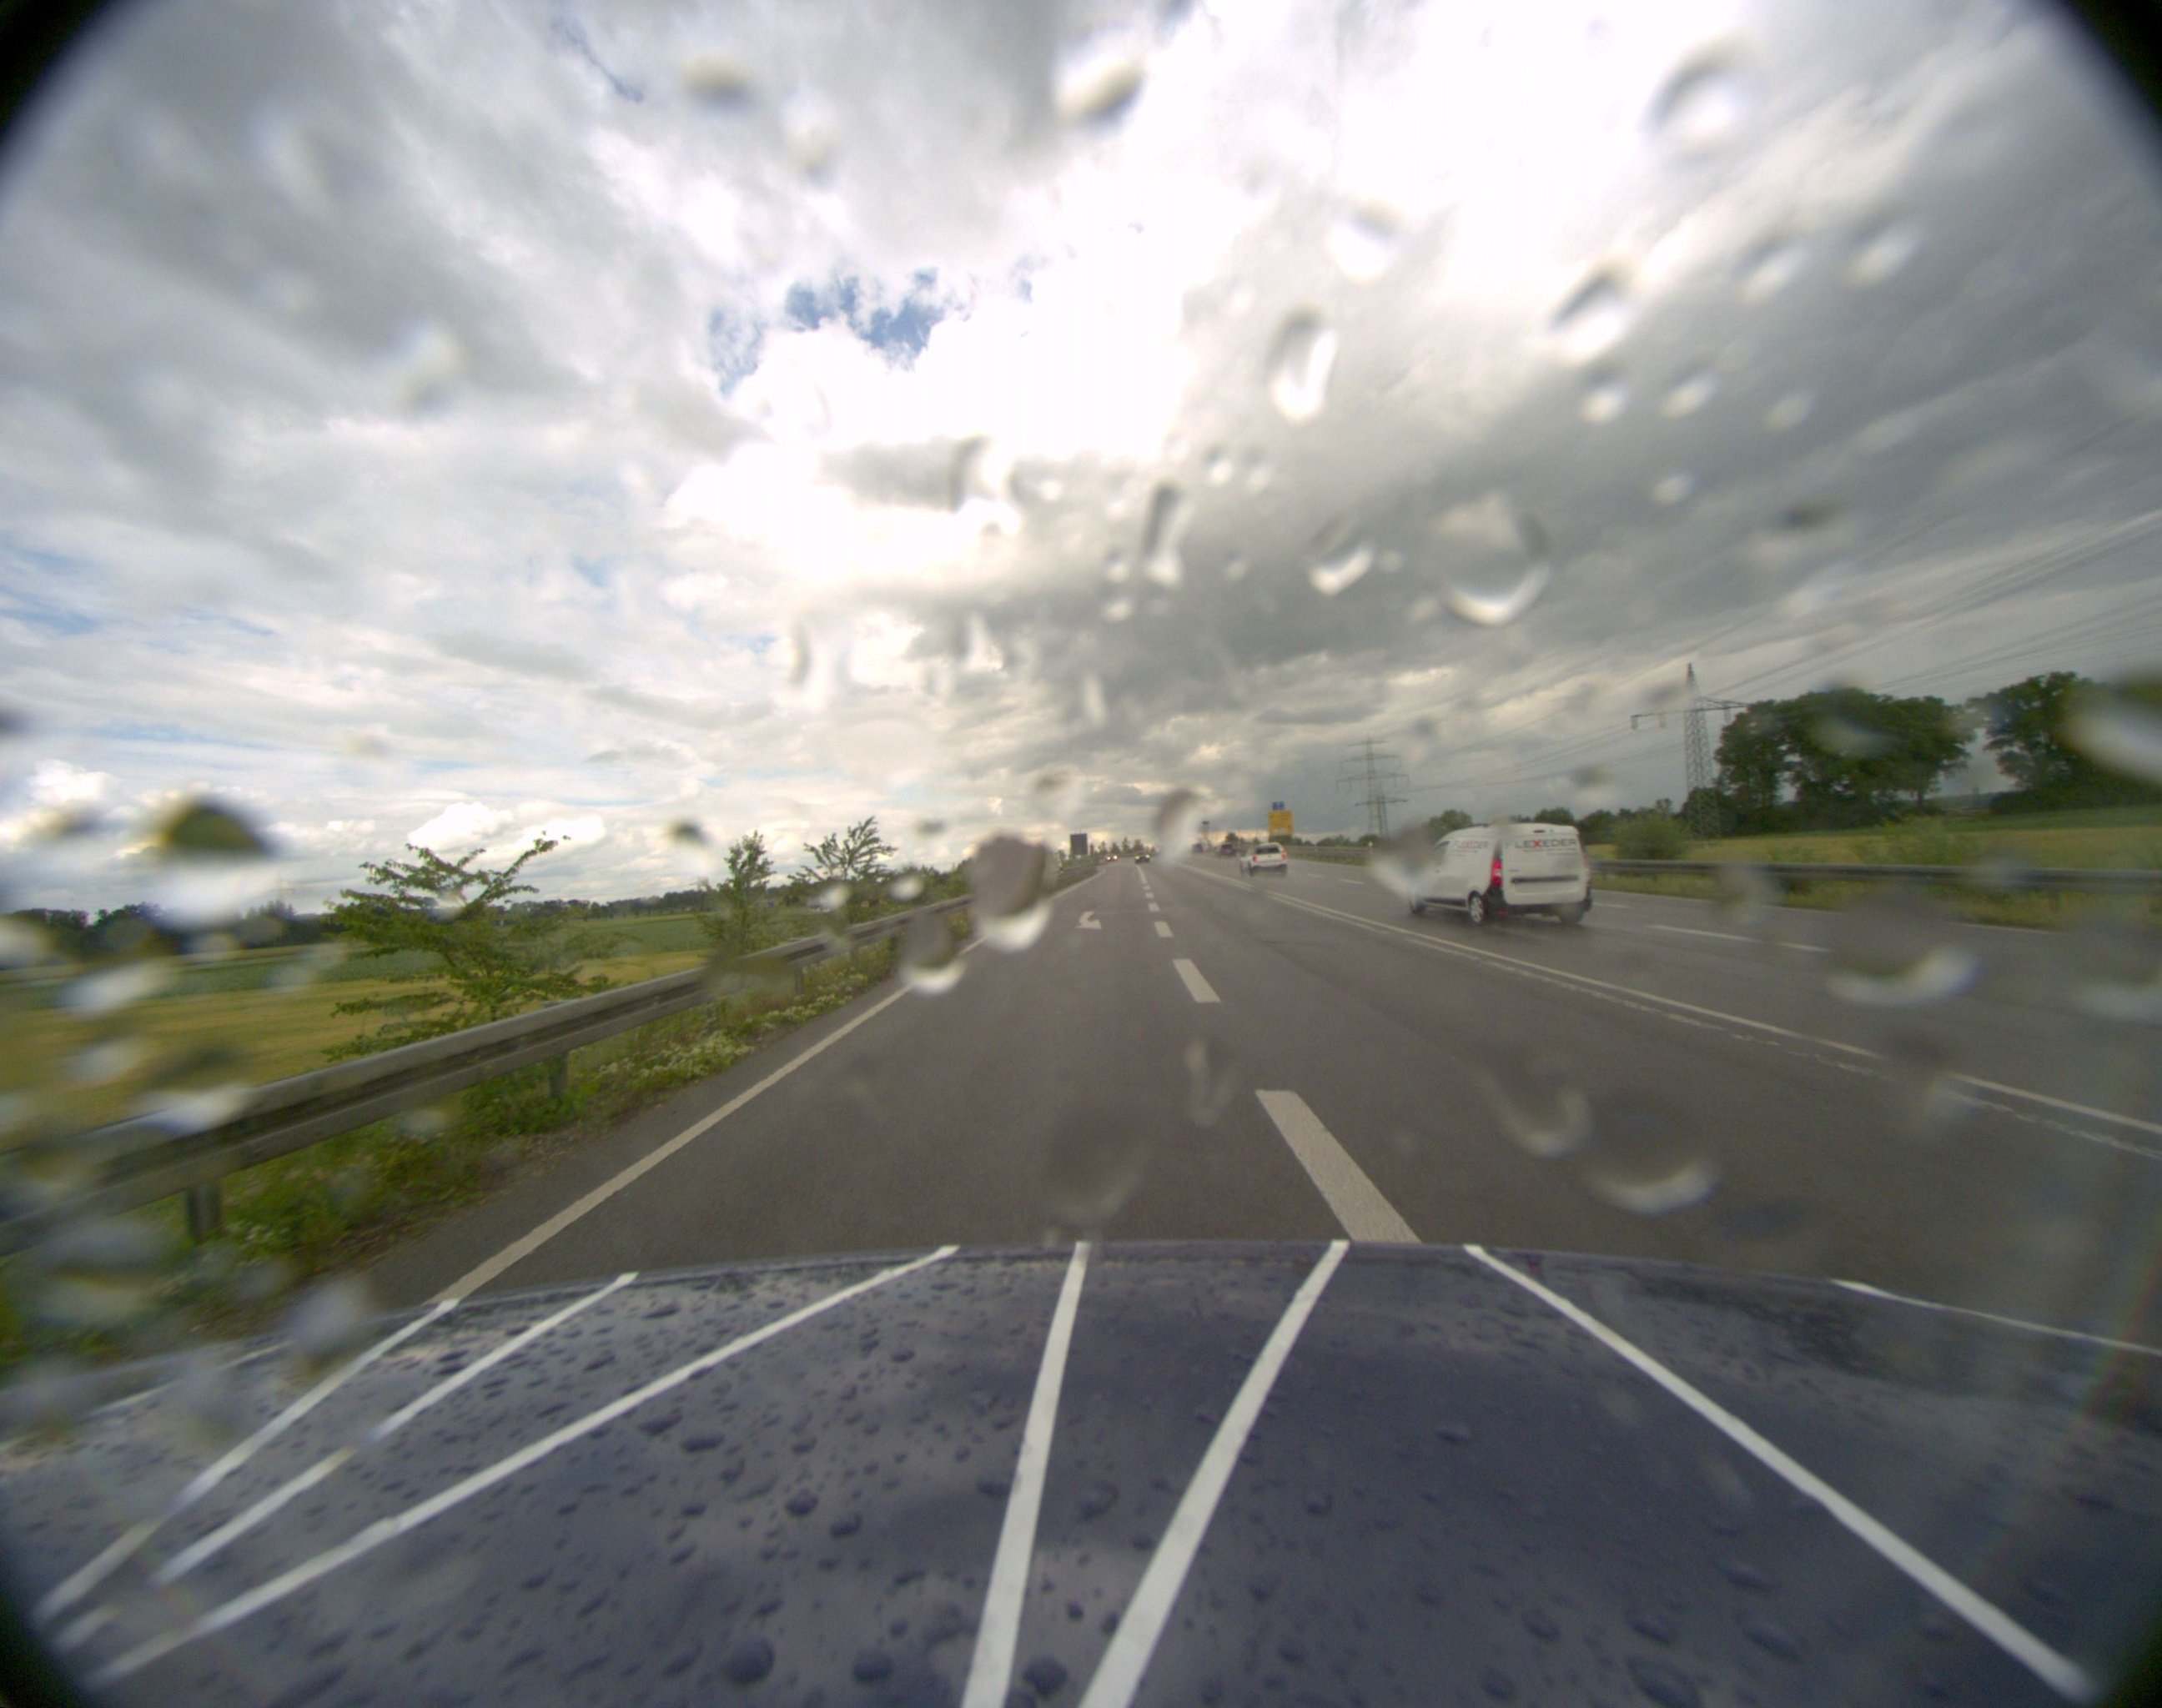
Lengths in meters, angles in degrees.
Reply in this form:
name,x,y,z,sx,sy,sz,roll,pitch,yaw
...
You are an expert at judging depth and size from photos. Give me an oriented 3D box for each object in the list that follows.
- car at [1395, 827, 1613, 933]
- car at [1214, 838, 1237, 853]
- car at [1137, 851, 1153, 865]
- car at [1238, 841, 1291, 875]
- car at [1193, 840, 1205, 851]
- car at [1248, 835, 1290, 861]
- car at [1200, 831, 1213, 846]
name,x,y,z,sx,sy,sz,roll,pitch,yaw
car,7.680,0.405,14.356,1.794,1.656,4.370,-1,1,2
car,15.298,-0.896,80.613,1.774,1.418,4.735,-3,1,5
car,8.674,0.577,103.192,1.795,1.758,4.004,-4,-2,9
car,8.981,0.171,37.411,1.770,1.491,4.210,-4,1,4
car,18.642,-1.306,120.055,1.711,1.600,4.639,-4,1,9
car,13.432,-0.439,54.553,1.948,1.650,4.646,-6,0,3
car,23.210,-2.832,140.449,1.973,2.639,5.463,-5,1,11
